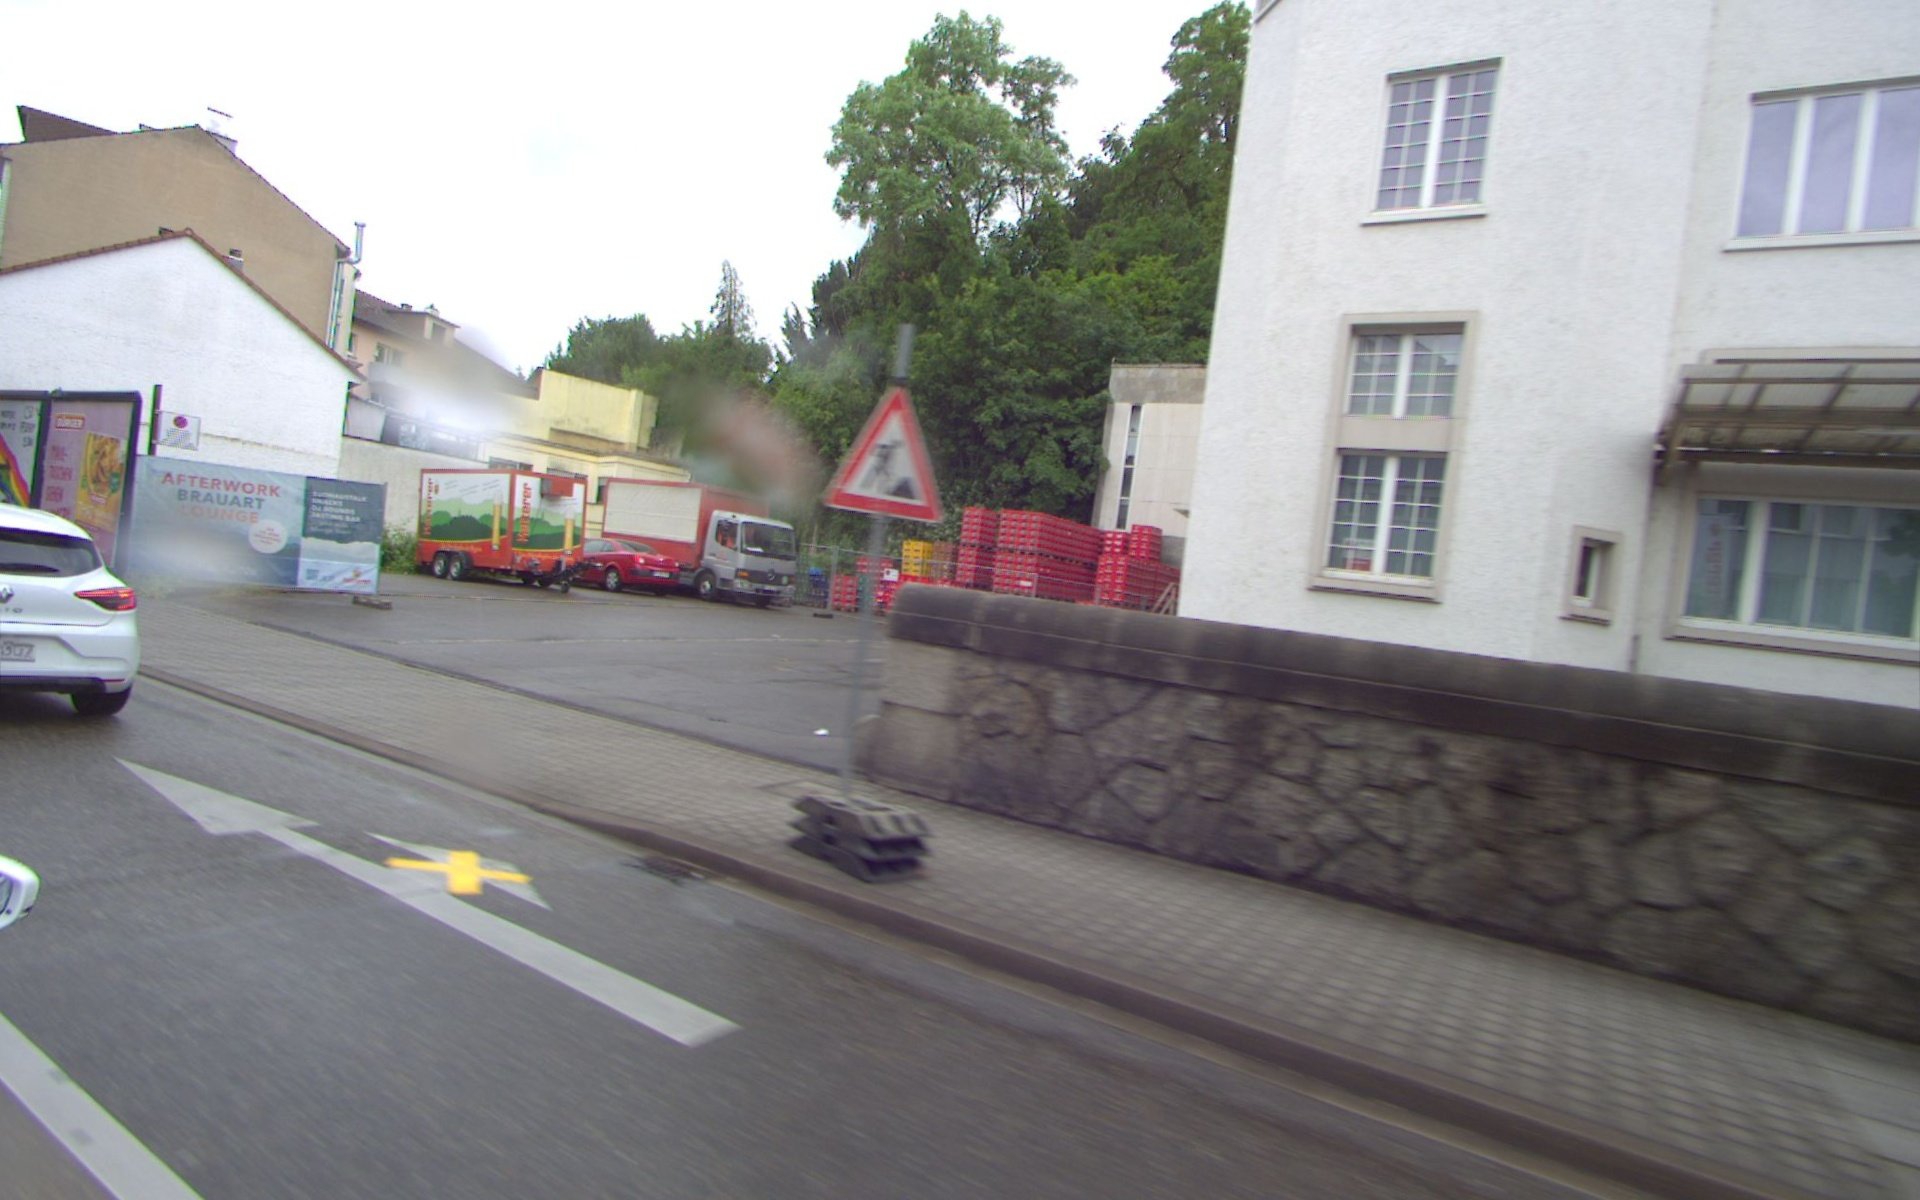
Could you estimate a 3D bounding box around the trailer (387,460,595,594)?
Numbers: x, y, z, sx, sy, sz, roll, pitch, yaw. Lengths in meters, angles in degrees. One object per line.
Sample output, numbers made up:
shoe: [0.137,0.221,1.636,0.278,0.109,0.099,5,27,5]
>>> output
trailer: [-11.764,-1.855,25.080,5.304,2.753,2.126,8,3,34]

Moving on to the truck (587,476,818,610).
truck: [-7.699,-1.737,29.592,6.821,3.258,2.630,7,2,36]

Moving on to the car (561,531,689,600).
car: [-9.061,-0.948,27.136,3.214,1.475,1.589,7,1,36]

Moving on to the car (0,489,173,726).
car: [-7.600,-0.142,7.271,3.801,1.413,1.667,8,0,31]
